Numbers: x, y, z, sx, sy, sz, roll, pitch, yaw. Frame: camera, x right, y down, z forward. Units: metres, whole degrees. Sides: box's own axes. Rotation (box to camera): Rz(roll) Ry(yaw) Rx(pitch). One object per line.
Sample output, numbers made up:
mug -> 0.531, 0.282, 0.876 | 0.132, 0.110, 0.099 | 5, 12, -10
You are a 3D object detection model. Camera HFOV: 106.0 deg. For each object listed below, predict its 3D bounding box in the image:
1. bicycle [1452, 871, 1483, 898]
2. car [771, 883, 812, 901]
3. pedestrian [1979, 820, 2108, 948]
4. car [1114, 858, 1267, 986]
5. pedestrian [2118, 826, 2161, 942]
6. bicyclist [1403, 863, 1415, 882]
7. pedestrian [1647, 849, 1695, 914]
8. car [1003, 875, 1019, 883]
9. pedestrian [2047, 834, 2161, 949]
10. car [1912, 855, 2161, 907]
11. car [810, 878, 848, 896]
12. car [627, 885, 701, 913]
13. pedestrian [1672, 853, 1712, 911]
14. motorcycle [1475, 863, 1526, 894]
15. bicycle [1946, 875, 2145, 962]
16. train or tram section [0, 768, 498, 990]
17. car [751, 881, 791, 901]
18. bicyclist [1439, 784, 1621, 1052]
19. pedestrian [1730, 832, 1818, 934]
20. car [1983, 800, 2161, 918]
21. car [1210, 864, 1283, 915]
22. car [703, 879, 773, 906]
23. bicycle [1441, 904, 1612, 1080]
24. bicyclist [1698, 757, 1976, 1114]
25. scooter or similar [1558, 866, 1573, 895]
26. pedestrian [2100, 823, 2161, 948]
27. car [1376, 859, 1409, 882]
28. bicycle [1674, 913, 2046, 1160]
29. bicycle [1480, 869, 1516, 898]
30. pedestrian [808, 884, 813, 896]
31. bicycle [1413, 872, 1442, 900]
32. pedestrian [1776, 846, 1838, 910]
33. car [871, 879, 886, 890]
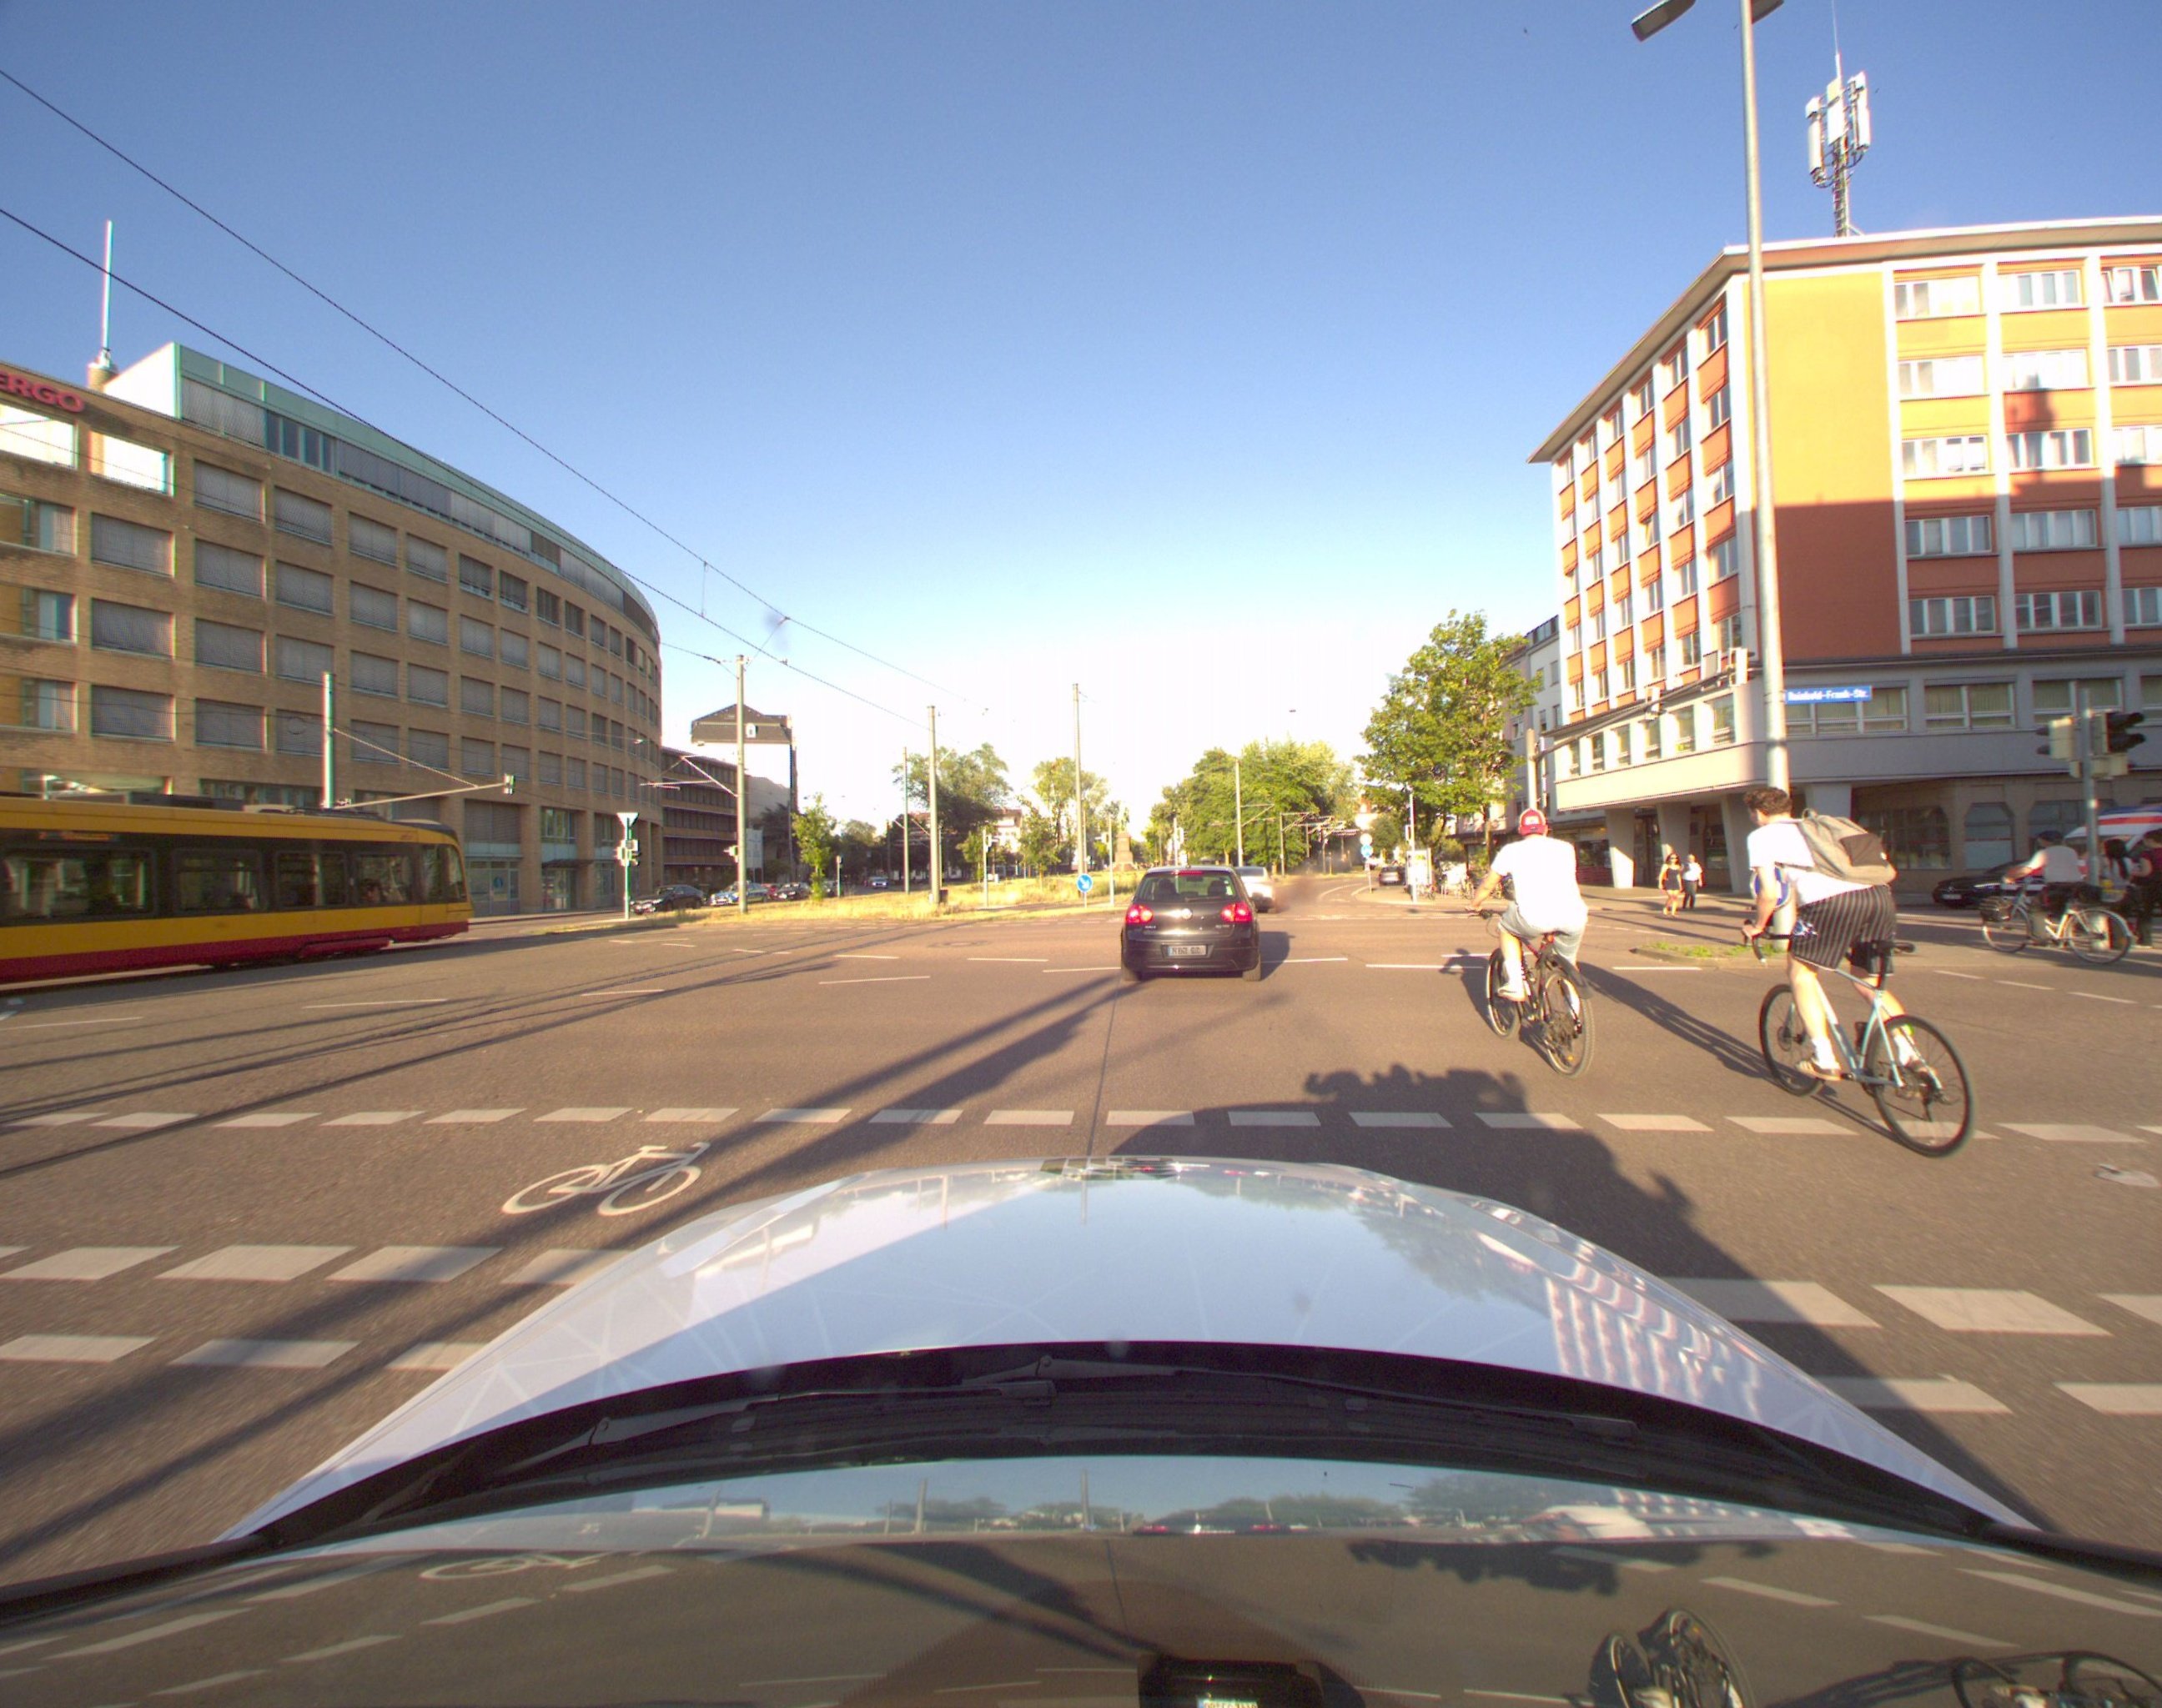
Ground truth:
bicycle -> 17.095, 1.336, 36.029 | 0.641, 1.127, 1.877 | -2, 0, 6
car -> -20.870, 2.707, 58.825 | 1.514, 1.153, 3.601 | -2, -1, 3
pedestrian -> 12.457, 0.393, 10.572 | 0.672, 1.590, 0.763 | -2, -3, 7
car -> 1.673, 0.823, 11.507 | 1.736, 1.461, 4.116 | -1, -1, 11
pedestrian -> 15.883, 0.419, 11.706 | 0.724, 1.662, 0.907 | -2, -1, 6
bicyclist -> 28.409, 1.569, 70.520 | 0.770, 1.618, 1.031 | -1, -1, 28
pedestrian -> 14.806, 0.693, 20.455 | 0.677, 1.589, 0.748 | -2, -1, 9
car -> -14.831, 5.316, 172.537 | 3.326, 1.507, 1.659 | -2, -1, 1
pedestrian -> 13.949, 0.499, 11.077 | 0.678, 1.500, 0.748 | -2, -1, 6
car -> 27.094, 0.757, 23.217 | 4.638, 1.341, 1.843 | -2, -1, 6
car -> -20.321, 2.675, 65.763 | 1.638, 1.281, 3.744 | -2, -1, 5
car -> -21.958, 2.348, 43.076 | 1.717, 1.282, 3.793 | -2, -1, 4
pedestrian -> 18.468, 0.835, 24.627 | 0.565, 1.701, 0.813 | -2, -1, 6
motorcycle -> 20.025, 1.177, 38.904 | 2.030, 1.406, 0.763 | -2, -1, 12
bicycle -> 12.418, 0.790, 10.582 | 0.518, 0.981, 1.853 | -2, -1, 6
train or tram section -> -18.303, 0.509, 17.911 | 2.761, 3.536, 10.581 | -1, -1, 4
car -> -24.673, 2.956, 64.912 | 1.719, 1.415, 3.885 | -2, -1, 0
bicyclist -> 3.288, 0.449, 6.084 | 0.822, 1.807, 1.060 | -2, -1, 8
pedestrian -> 12.168, 0.494, 14.338 | 0.658, 1.704, 1.074 | -2, -1, 9
car -> 24.070, 0.066, 18.260 | 5.226, 2.482, 1.928 | -2, -1, 4
car -> 5.320, 1.069, 25.804 | 1.851, 1.441, 4.215 | -2, -1, 16
car -> -21.400, 2.383, 51.087 | 1.878, 1.480, 4.791 | -2, -1, 7
bicycle -> 3.284, 0.945, 6.202 | 0.475, 1.028, 1.986 | -2, -1, 9
bicyclist -> 4.234, 0.423, 4.663 | 0.670, 1.807, 0.996 | -2, -1, 8
scooter or similar -> 22.043, 1.202, 37.066 | 0.411, 1.254, 1.189 | -2, -1, 24
pedestrian -> 14.671, 0.413, 11.052 | 0.678, 1.662, 0.748 | -2, -1, 6
car -> 22.682, 1.199, 59.203 | 1.712, 1.472, 3.922 | -5, -3, 27
bicycle -> 4.294, 0.917, 4.720 | 0.572, 1.028, 1.861 | -2, -1, 9
bicycle -> 18.373, 1.279, 35.926 | 0.641, 1.158, 2.128 | -2, 0, 6
pedestrian -> -32.804, 4.328, 98.705 | 0.411, 1.430, 0.486 | -2, -1, 4
bicycle -> 15.316, 1.402, 36.013 | 0.641, 1.127, 1.877 | -2, 0, 6
pedestrian -> 20.068, 0.649, 22.541 | 0.779, 1.701, 1.029 | -2, -1, 6
car -> -29.167, 4.399, 117.601 | 1.771, 1.482, 4.293 | -1, -1, -10
